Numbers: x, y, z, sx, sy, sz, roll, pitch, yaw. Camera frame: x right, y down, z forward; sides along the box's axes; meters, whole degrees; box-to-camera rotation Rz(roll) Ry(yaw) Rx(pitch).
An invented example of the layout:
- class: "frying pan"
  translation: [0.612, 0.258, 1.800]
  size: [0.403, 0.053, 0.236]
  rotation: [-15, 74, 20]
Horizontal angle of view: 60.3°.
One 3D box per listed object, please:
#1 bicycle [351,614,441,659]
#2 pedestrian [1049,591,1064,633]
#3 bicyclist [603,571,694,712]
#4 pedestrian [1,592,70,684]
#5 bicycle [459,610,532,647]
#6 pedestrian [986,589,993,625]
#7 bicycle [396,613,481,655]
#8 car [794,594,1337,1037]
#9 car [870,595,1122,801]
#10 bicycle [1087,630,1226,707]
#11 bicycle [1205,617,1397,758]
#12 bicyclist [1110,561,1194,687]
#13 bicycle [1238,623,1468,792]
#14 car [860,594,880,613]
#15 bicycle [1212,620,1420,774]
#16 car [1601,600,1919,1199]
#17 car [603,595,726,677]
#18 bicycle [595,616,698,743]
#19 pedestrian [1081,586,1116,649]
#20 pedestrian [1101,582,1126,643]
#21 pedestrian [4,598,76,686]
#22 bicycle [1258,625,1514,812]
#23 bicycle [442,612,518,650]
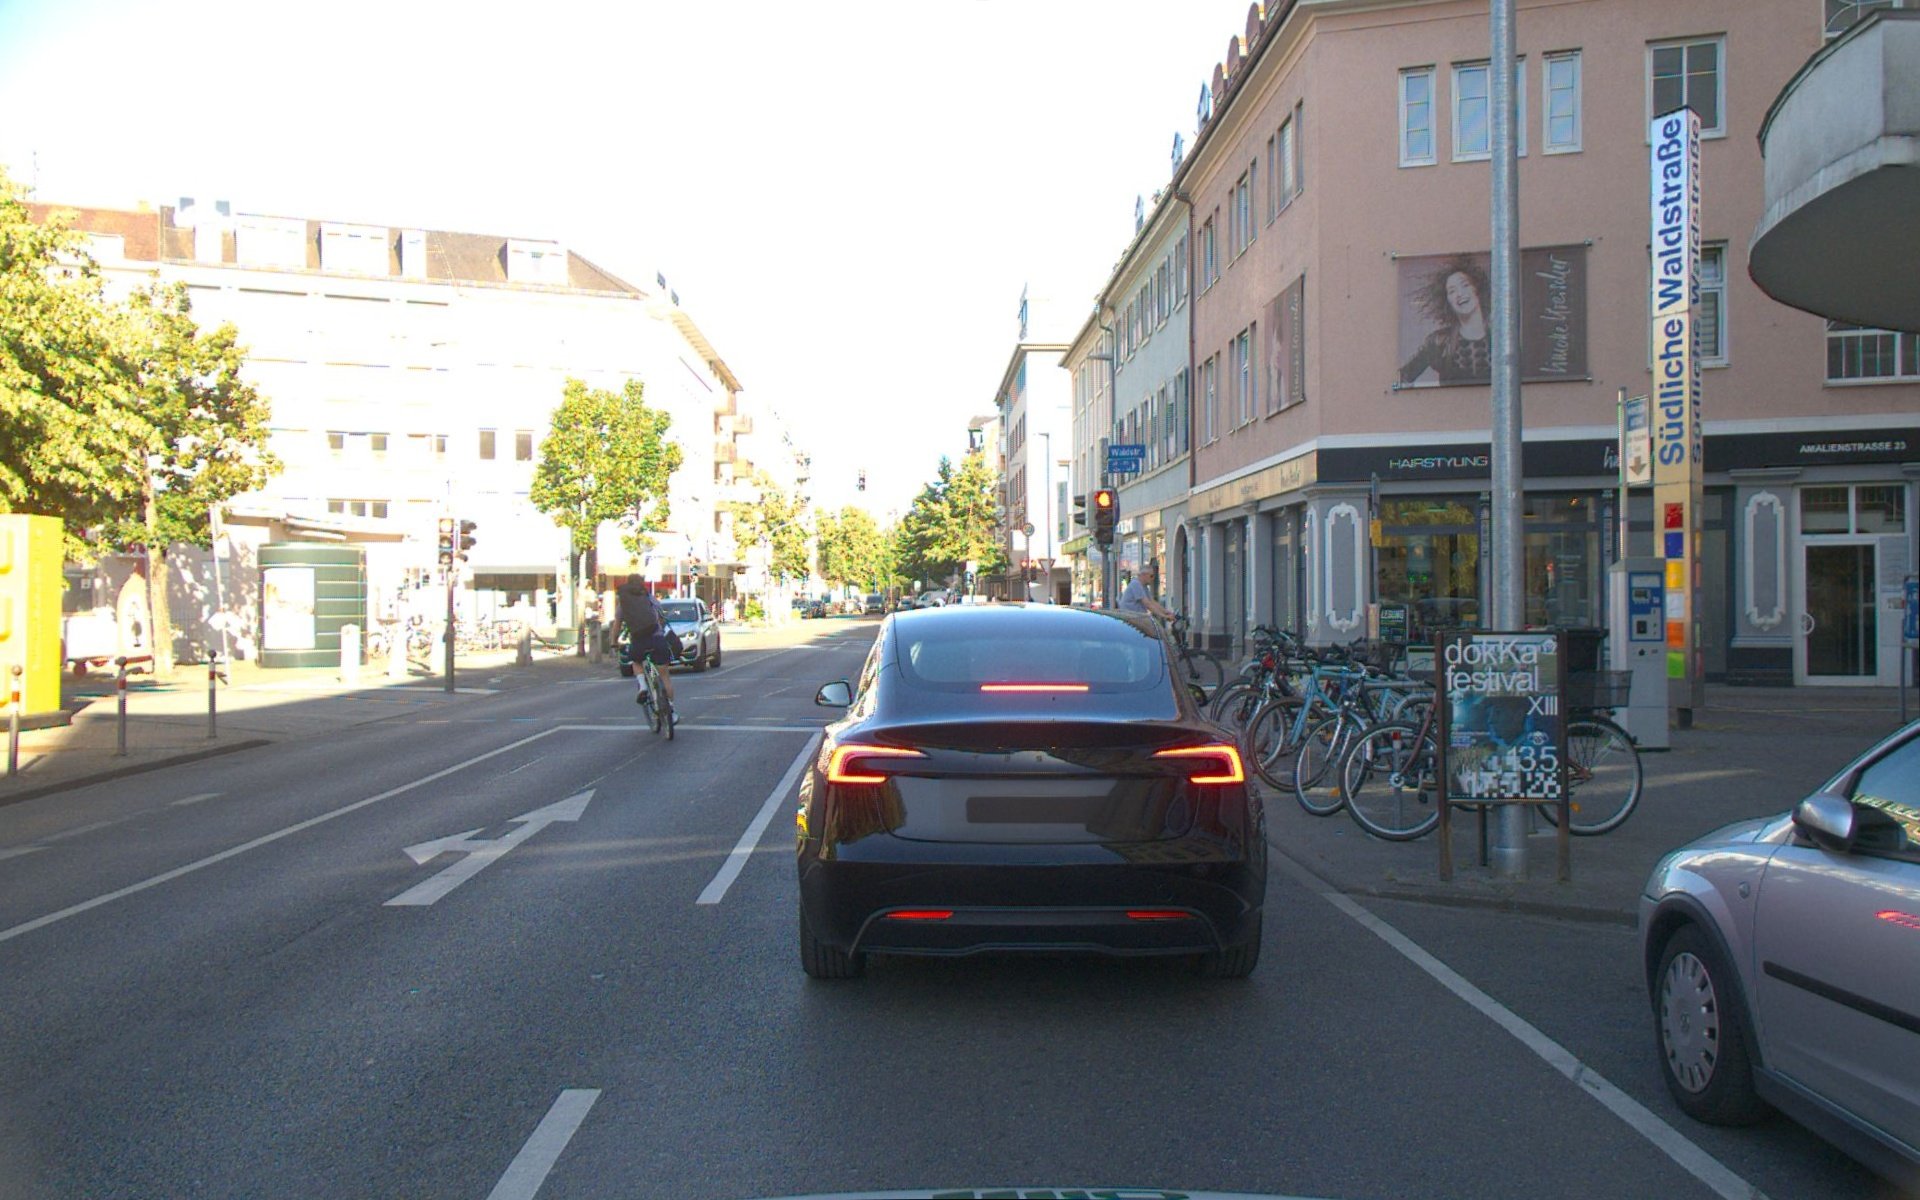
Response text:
- class: "bicycle"
  translation: [-14.464, 0.926, 42.451]
  size: [2.040, 1.123, 0.806]
  rotation: [0, 0, -1]
- class: "pedestrian"
  translation: [3.888, 0.481, 66.526]
  size: [0.559, 1.720, 0.387]
  rotation: [0, 0, -1]
- class: "bicyclist"
  translation: [-3.310, 0.432, 17.643]
  size: [0.780, 1.460, 1.008]
  rotation: [0, 0, -1]
- class: "pedestrian"
  translation: [-17.733, 0.720, 31.748]
  size: [0.882, 1.755, 0.744]
  rotation: [0, 0, 3]
- class: "bicycle"
  translation: [-14.582, 0.890, 51.938]
  size: [2.040, 1.123, 0.806]
  rotation: [0, 0, -1]
- class: "pedestrian"
  translation: [1.697, 0.410, 95.002]
  size: [0.376, 2.049, 0.297]
  rotation: [0, 0, -1]
- class: "bicycle"
  translation: [-14.171, 0.914, 44.976]
  size: [2.040, 1.123, 0.806]
  rotation: [0, 0, -1]
- class: "car"
  translation: [0.355, 0.717, 7.422]
  size: [1.812, 1.480, 3.786]
  rotation: [0, 0, 0]
- class: "car"
  translation: [0.259, 0.701, 13.789]
  size: [1.812, 1.480, 3.786]
  rotation: [0, 0, 0]
- class: "bicycle"
  translation: [2.683, 0.918, 22.505]
  size: [1.823, 0.962, 0.629]
  rotation: [1, 0, 10]
- class: "bicycle"
  translation: [3.041, 0.775, 14.797]
  size: [1.594, 1.180, 0.433]
  rotation: [-2, 0, 0]
- class: "bicyclist"
  translation: [2.620, 0.316, 22.516]
  size: [1.096, 1.683, 0.629]
  rotation: [0, 0, 10]
- class: "bicycle"
  translation: [2.943, 0.796, 12.437]
  size: [1.595, 1.180, 0.432]
  rotation: [-2, 0, -2]
- class: "car"
  translation: [-8.415, 0.286, 154.804]
  size: [1.793, 1.754, 3.998]
  rotation: [0, 0, -2]
- class: "bicycle"
  translation: [2.923, 0.788, 13.634]
  size: [1.595, 1.180, 0.432]
  rotation: [-2, 0, -2]
- class: "car"
  translation: [2.909, 0.715, 3.515]
  size: [1.588, 1.419, 3.886]
  rotation: [0, 0, 0]
- class: "car"
  translation: [-6.408, 0.743, 36.331]
  size: [1.953, 1.567, 3.999]
  rotation: [-3, 0, -1]
- class: "bicycle"
  translation: [-3.309, 0.814, 17.616]
  size: [0.780, 1.254, 1.773]
  rotation: [0, 0, -1]
- class: "pedestrian"
  translation: [4.149, 0.513, 49.517]
  size: [0.979, 1.883, 0.615]
  rotation: [0, 0, -1]
- class: "pedestrian"
  translation: [4.611, 0.374, 49.578]
  size: [0.689, 1.814, 0.533]
  rotation: [0, 0, -1]
- class: "pedestrian"
  translation: [-17.703, 0.794, 31.840]
  size: [0.966, 1.665, 0.737]
  rotation: [0, 0, 3]
- class: "bicycle"
  translation: [2.878, 0.791, 11.233]
  size: [1.595, 1.180, 0.432]
  rotation: [-2, 0, -2]
- class: "bicycle"
  translation: [-14.439, 0.931, 49.746]
  size: [2.040, 1.123, 0.806]
  rotation: [0, 0, -1]
